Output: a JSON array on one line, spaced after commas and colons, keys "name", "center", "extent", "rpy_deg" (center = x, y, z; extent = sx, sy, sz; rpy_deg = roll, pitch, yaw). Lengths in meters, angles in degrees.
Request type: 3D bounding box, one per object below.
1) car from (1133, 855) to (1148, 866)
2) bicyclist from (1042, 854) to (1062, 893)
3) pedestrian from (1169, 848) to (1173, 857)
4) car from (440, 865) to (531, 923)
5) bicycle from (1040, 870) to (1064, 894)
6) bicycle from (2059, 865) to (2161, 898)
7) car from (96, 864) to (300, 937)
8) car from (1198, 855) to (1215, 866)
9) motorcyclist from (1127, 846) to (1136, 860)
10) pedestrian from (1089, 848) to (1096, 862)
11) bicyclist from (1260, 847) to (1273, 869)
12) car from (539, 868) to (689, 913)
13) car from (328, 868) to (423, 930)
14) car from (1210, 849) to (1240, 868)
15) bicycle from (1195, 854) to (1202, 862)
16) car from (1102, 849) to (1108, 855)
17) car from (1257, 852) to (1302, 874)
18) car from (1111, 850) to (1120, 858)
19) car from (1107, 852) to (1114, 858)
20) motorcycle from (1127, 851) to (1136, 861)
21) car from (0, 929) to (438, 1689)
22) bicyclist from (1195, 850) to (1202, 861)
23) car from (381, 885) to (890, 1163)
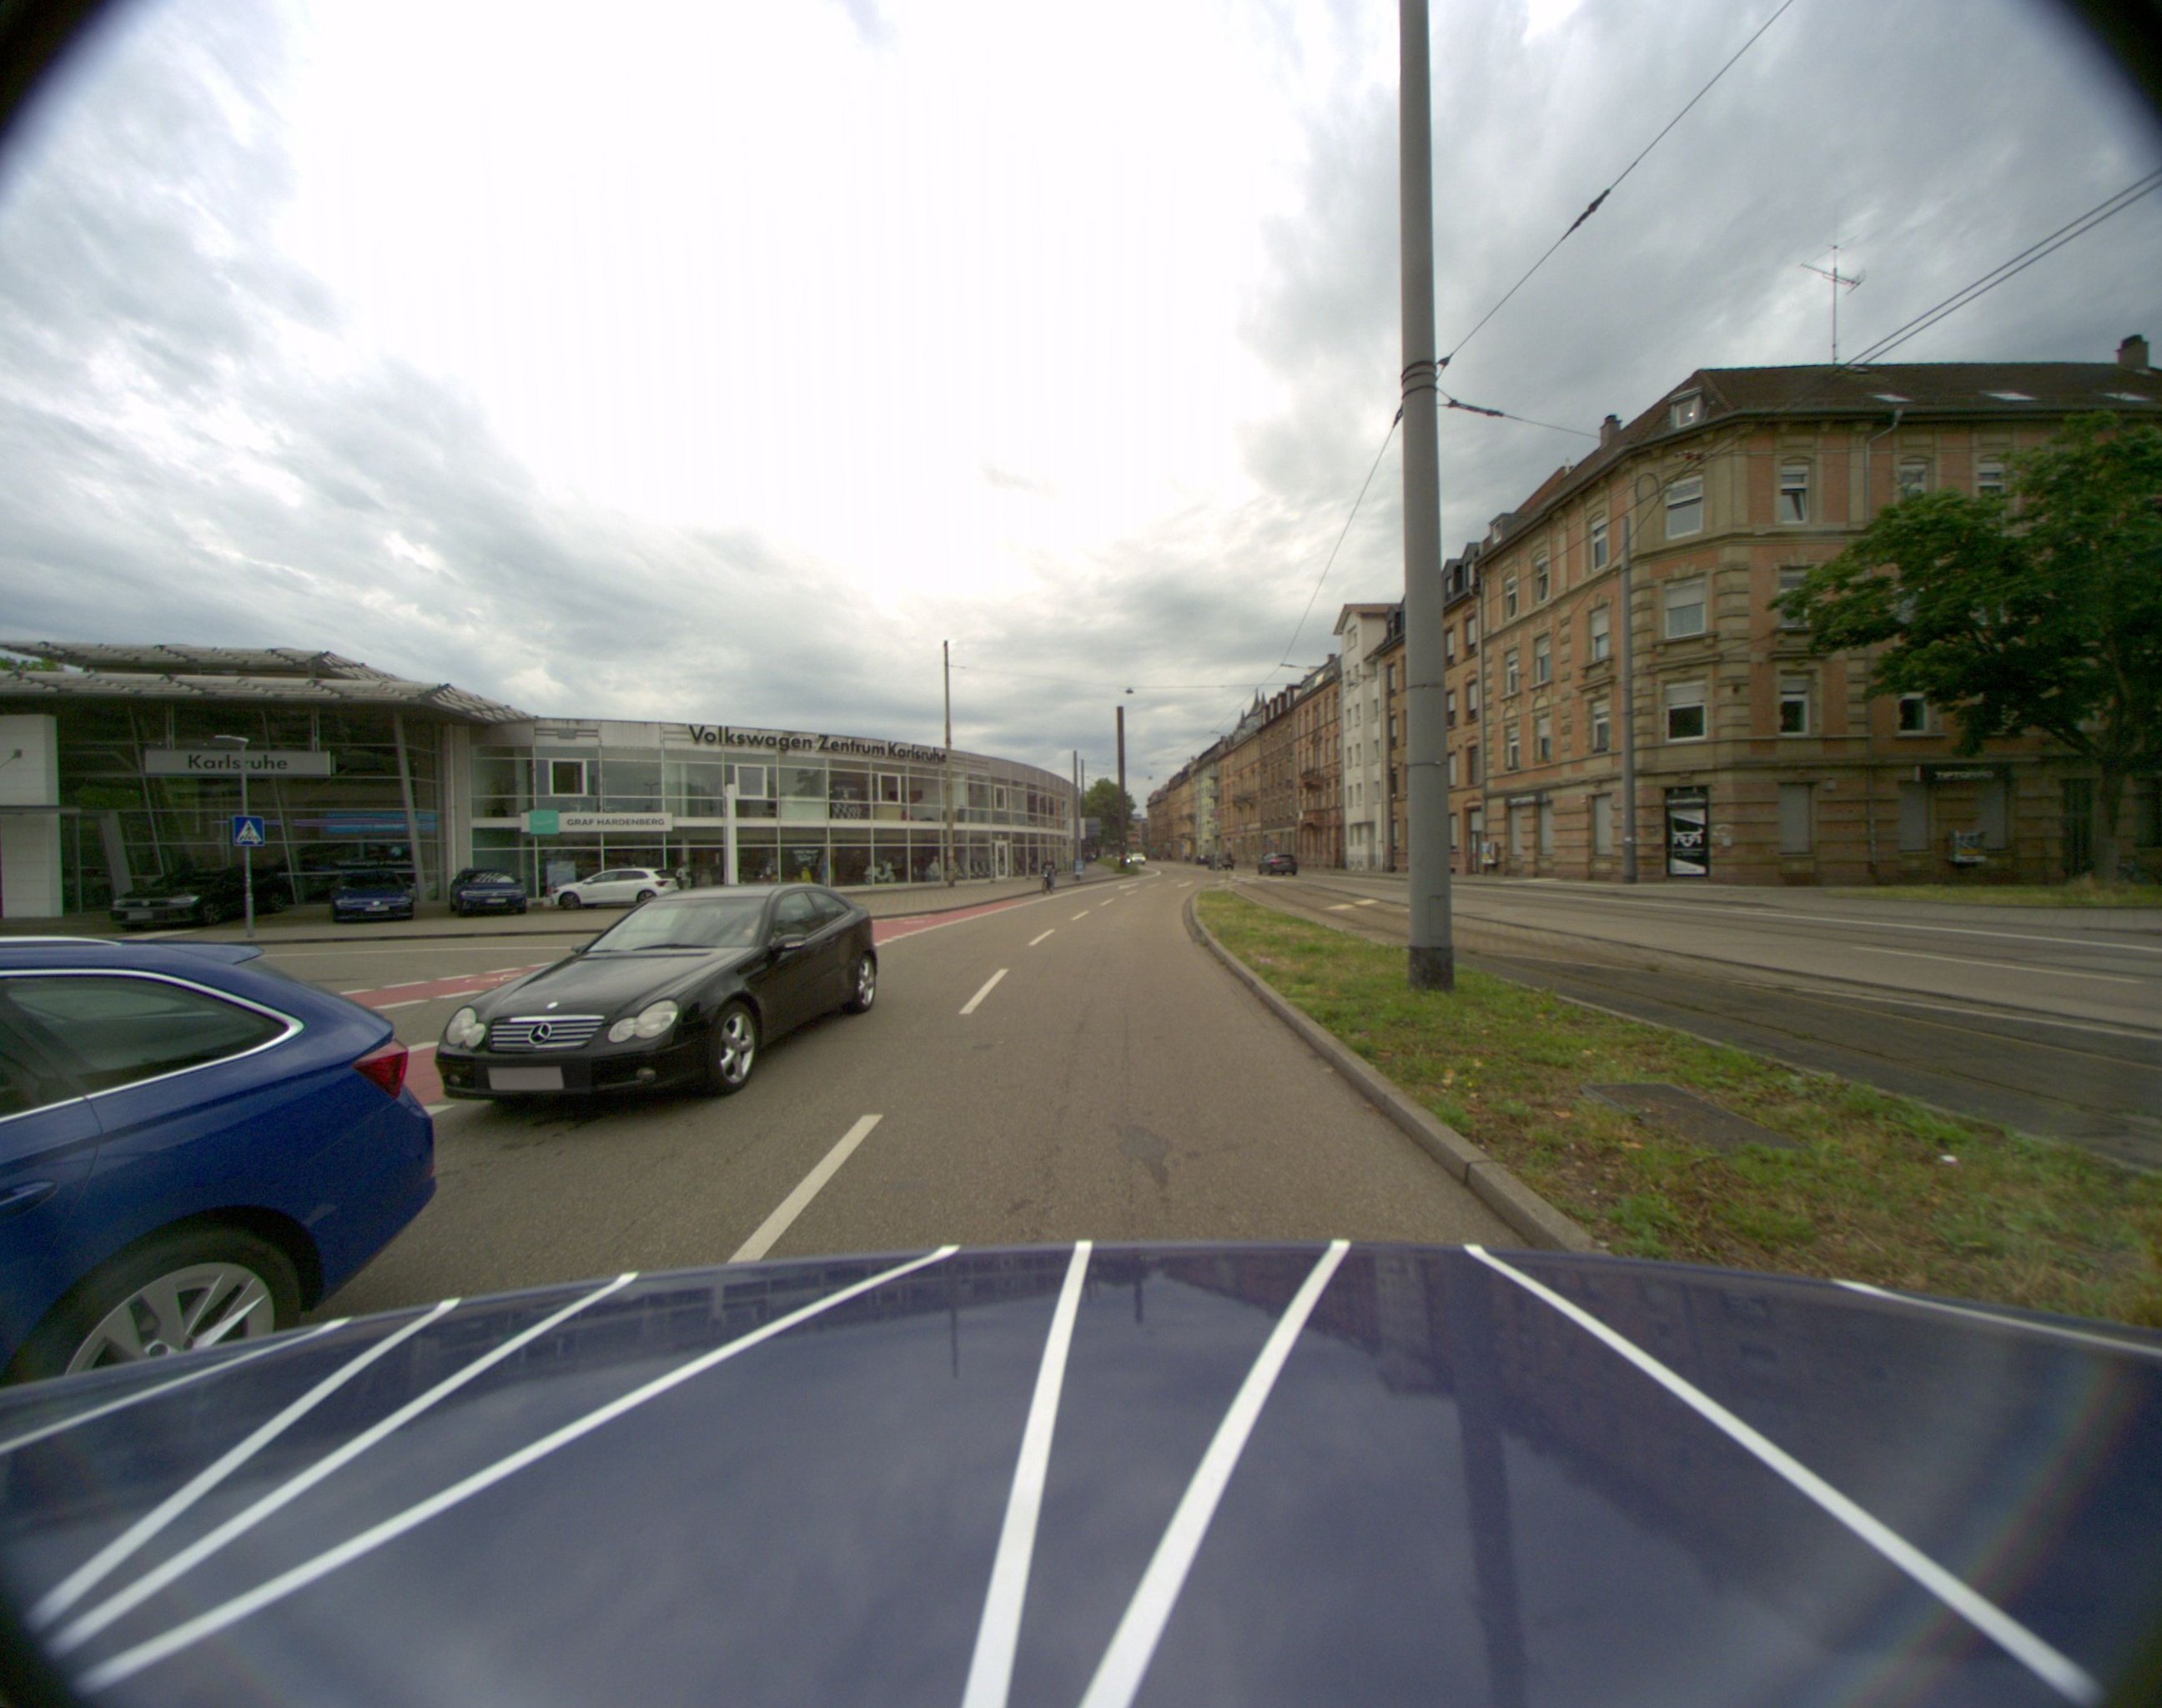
[{"name": "car", "center": [8.550, 0.916, 109.070], "extent": [1.802, 1.630, 4.230], "rpy_deg": [-1, 0, 1]}, {"name": "bicyclist", "center": [-1.325, 0.897, 34.957], "extent": [0.730, 1.747, 0.911], "rpy_deg": [-1, 1, 7]}, {"name": "pedestrian", "center": [18.474, -0.296, 156.093], "extent": [0.814, 2.002, 0.733], "rpy_deg": [-1, 1, 1]}, {"name": "car", "center": [-20.136, 1.263, 25.642], "extent": [1.905, 1.554, 4.207], "rpy_deg": [-2, 3, -45]}, {"name": "bicycle", "center": [-1.313, 1.285, 35.004], "extent": [0.727, 1.003, 2.177], "rpy_deg": [-1, 0, 7]}, {"name": "bicycle", "center": [30.333, 0.824, 22.236], "extent": [0.662, 0.909, 1.989], "rpy_deg": [0, -3, -10]}, {"name": "car", "center": [-26.468, 1.298, 23.060], "extent": [1.862, 1.624, 4.500], "rpy_deg": [-3, 4, -18]}, {"name": "car", "center": [16.950, 0.893, 103.007], "extent": [1.852, 1.471, 3.828], "rpy_deg": [-1, 0, 3]}, {"name": "motorcyclist", "center": [6.022, -0.107, 90.867], "extent": [0.960, 1.560, 1.116], "rpy_deg": [-1, 2, 1]}, {"name": "pedestrian", "center": [1.581, 0.109, 101.525], "extent": [0.871, 1.843, 0.706], "rpy_deg": [-1, 1, 1]}, {"name": "bicyclist", "center": [16.136, 0.354, 66.166], "extent": [0.831, 1.881, 1.049], "rpy_deg": [0, 0, -1]}, {"name": "car", "center": [-16.987, 1.291, 27.845], "extent": [4.263, 1.444, 1.781], "rpy_deg": [-1, 0, -9]}, {"name": "car", "center": [-22.191, 1.319, 23.850], "extent": [4.325, 1.496, 1.862], "rpy_deg": [3, 3, 43]}, {"name": "car", "center": [13.110, 0.386, 69.441], "extent": [1.802, 1.630, 4.229], "rpy_deg": [-1, 0, -1]}, {"name": "bicycle", "center": [15.272, 0.528, 98.881], "extent": [0.607, 0.910, 1.719], "rpy_deg": [-1, 0, -4]}, {"name": "car", "center": [7.560, -0.588, 236.886], "extent": [1.802, 1.630, 4.230], "rpy_deg": [-1, 0, 1]}, {"name": "car", "center": [13.081, 0.553, 50.310], "extent": [1.698, 1.387, 4.391], "rpy_deg": [-1, 0, -2]}, {"name": "car", "center": [7.805, -0.062, 171.245], "extent": [1.802, 1.630, 4.230], "rpy_deg": [-1, 0, 1]}, {"name": "car", "center": [7.968, 0.212, 205.129], "extent": [1.802, 1.630, 4.230], "rpy_deg": [-1, 0, 1]}, {"name": "motorcycle", "center": [6.027, 0.264, 90.847], "extent": [0.960, 1.128, 2.712], "rpy_deg": [-1, 2, 1]}, {"name": "car", "center": [-3.187, 1.039, 0.422], "extent": [1.784, 1.480, 4.465], "rpy_deg": [-1, 1, 1]}, {"name": "bicyclist", "center": [15.287, 0.214, 98.741], "extent": [0.663, 1.486, 0.942], "rpy_deg": [-1, 1, -3]}, {"name": "car", "center": [-3.099, 1.073, 6.426], "extent": [1.714, 1.413, 4.070], "rpy_deg": [-1, 0, 3]}]
